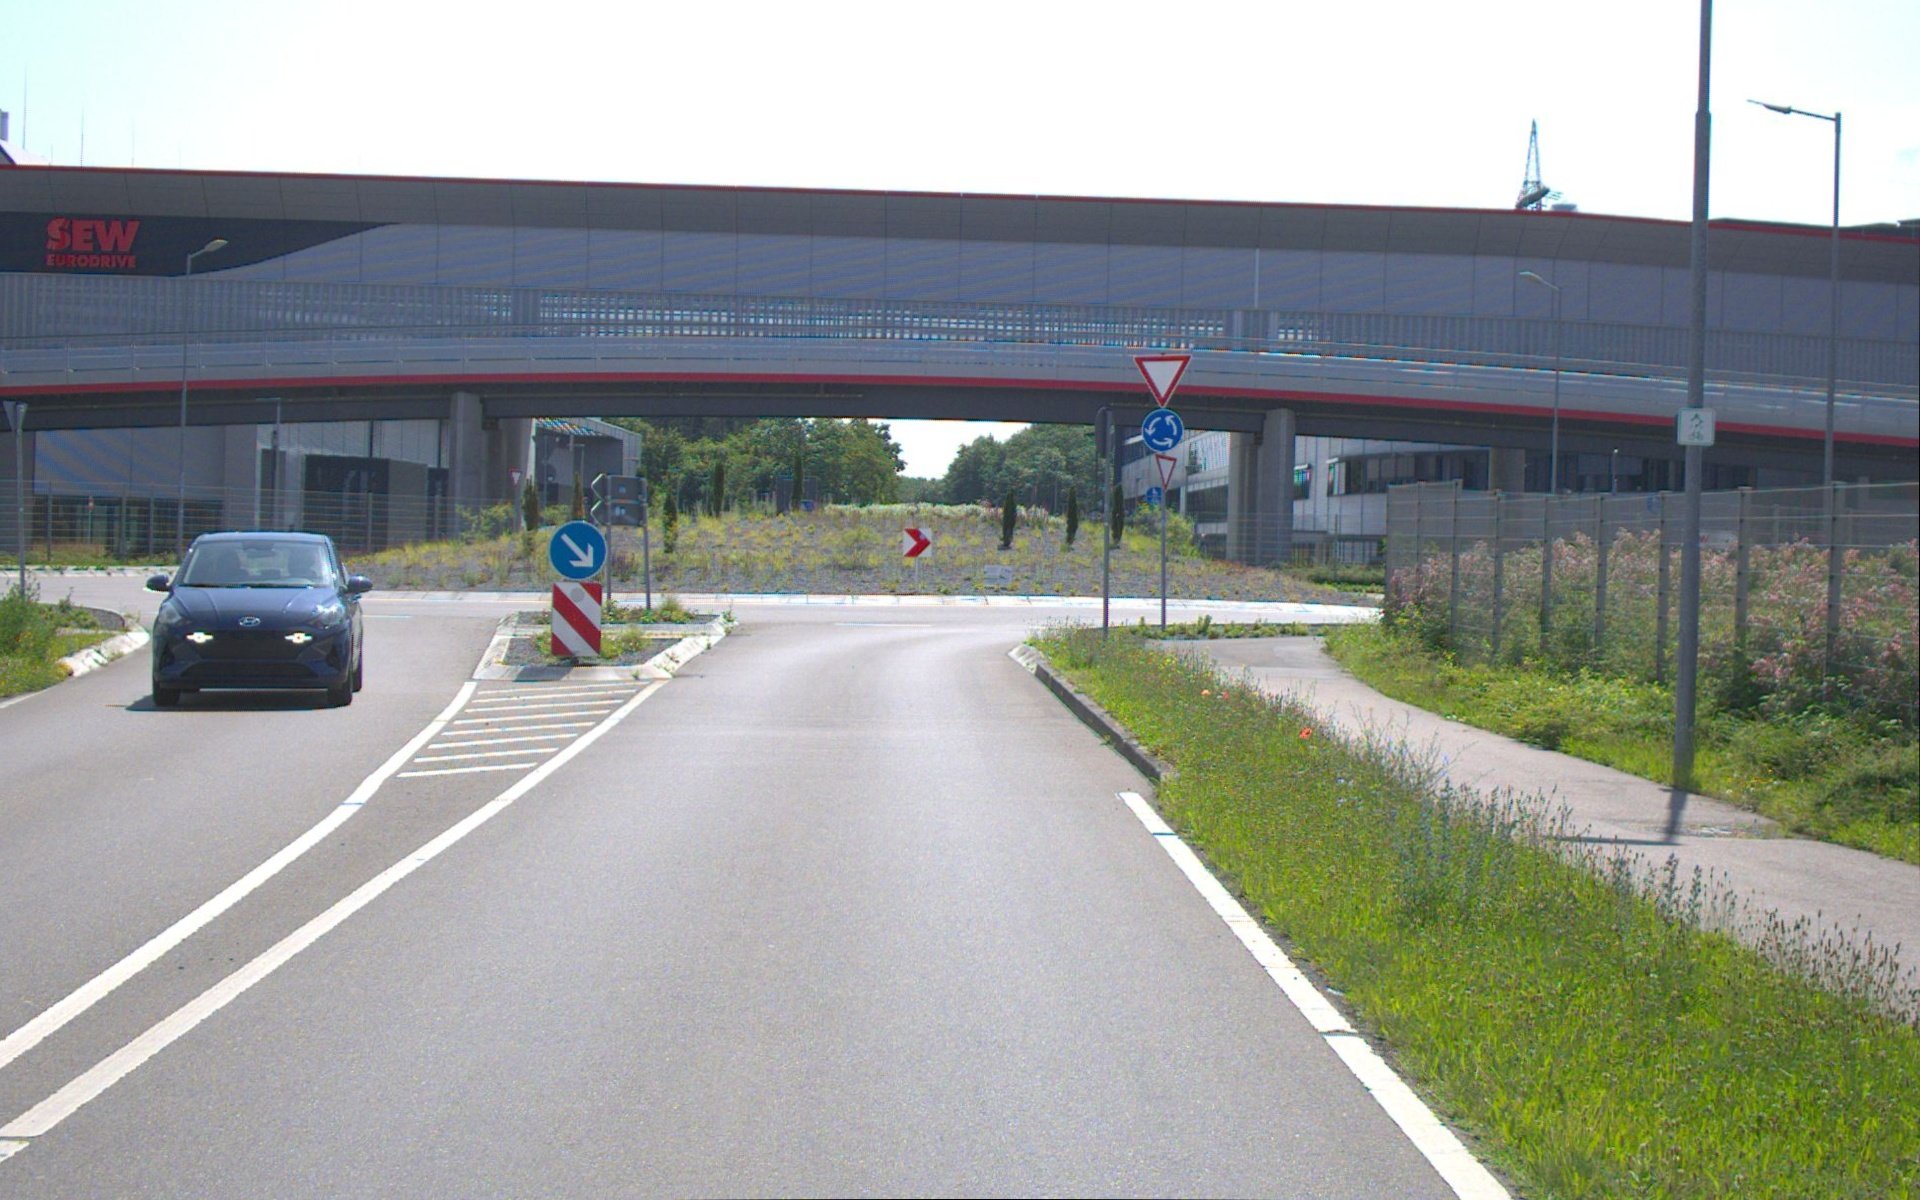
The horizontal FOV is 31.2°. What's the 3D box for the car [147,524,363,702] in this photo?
[{"bbox_3d":[-6.227,0.086,30.692,1.702,1.477,4.001,0,1,-9],"label":"car"}]
